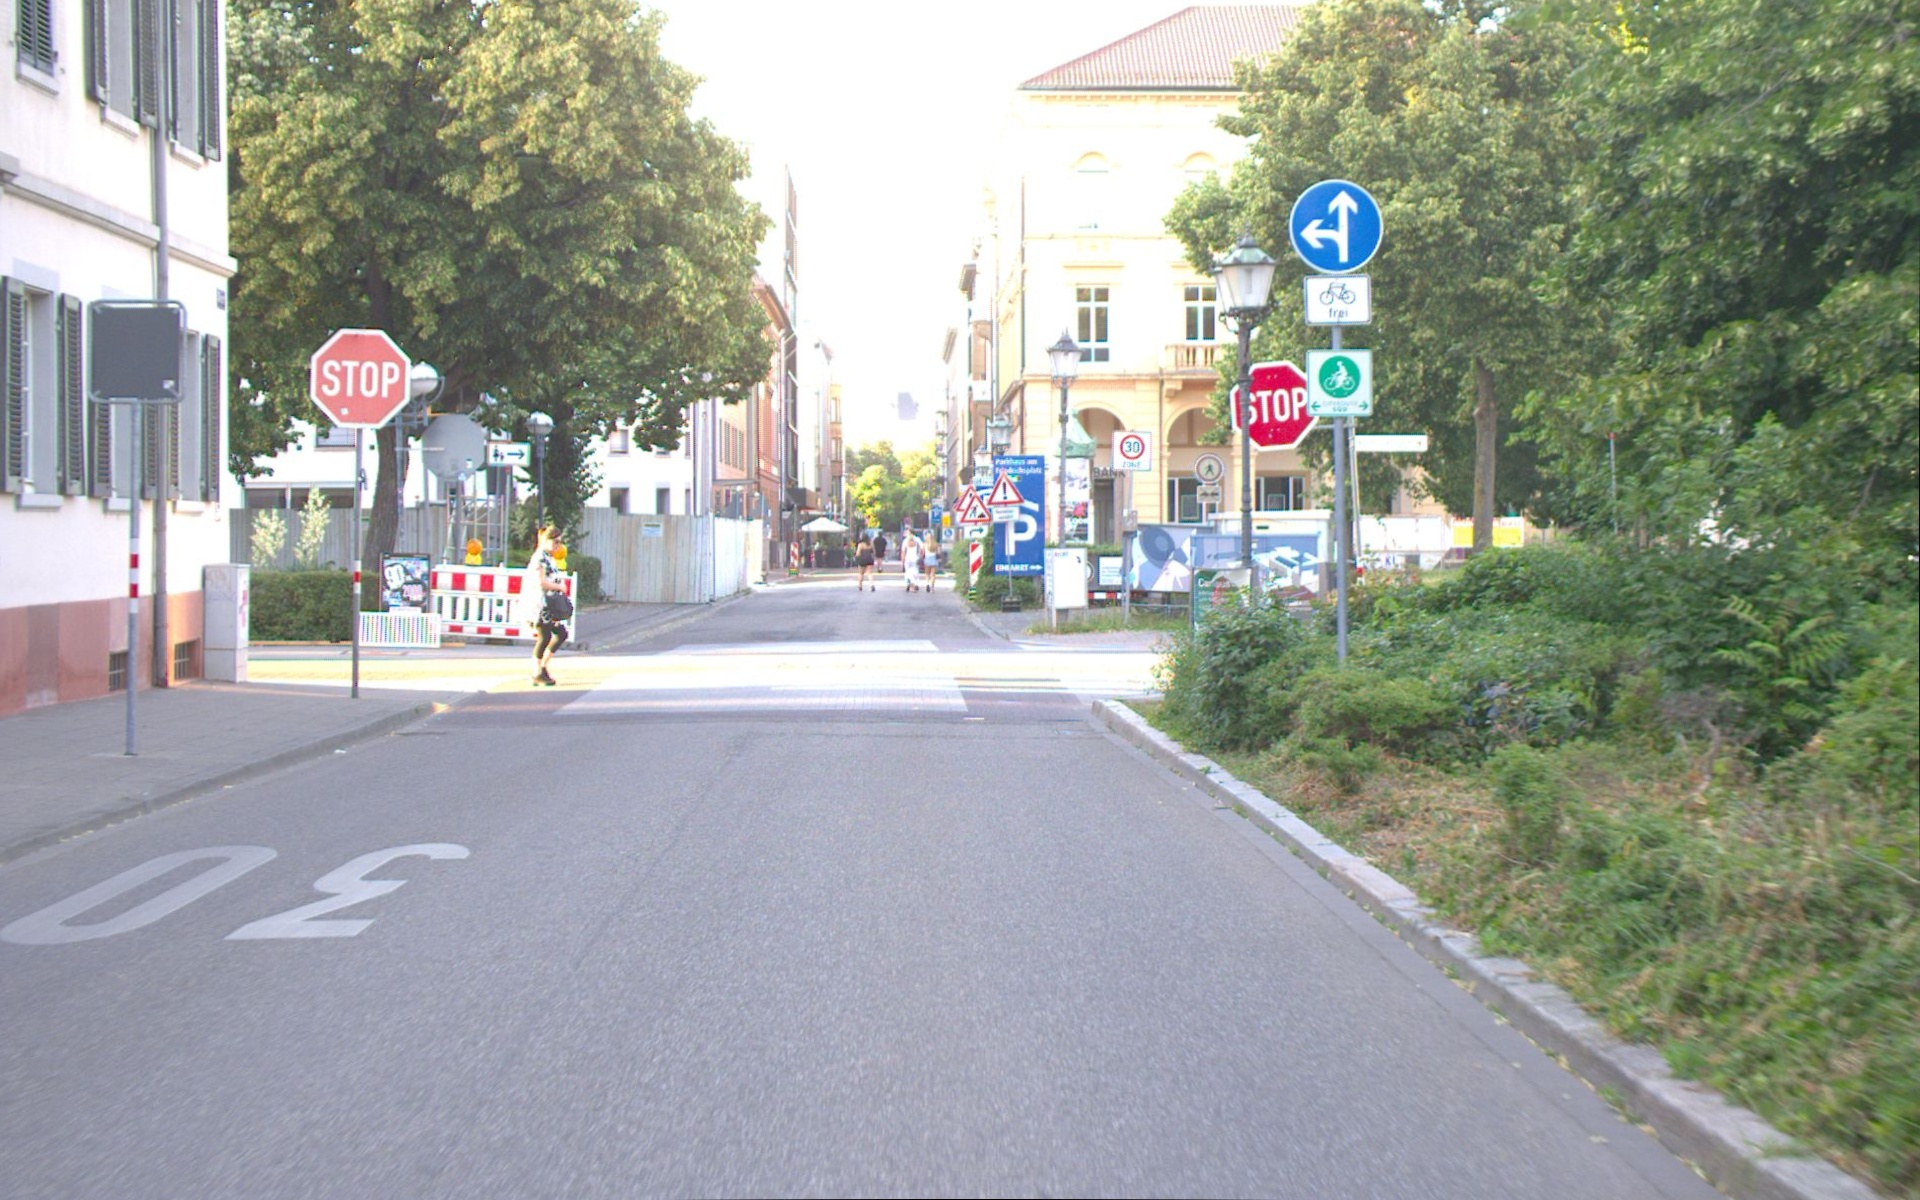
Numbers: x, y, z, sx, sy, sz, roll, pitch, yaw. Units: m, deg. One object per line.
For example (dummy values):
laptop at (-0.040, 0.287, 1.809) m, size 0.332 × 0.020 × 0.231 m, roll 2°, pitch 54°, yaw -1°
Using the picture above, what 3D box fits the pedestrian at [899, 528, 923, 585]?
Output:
pedestrian at (-1.386, -1.252, 97.734) m, size 0.657 × 1.611 × 0.745 m, roll -1°, pitch 1°, yaw 0°

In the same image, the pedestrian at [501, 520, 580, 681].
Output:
pedestrian at (-4.432, -0.002, 36.365) m, size 0.734 × 1.683 × 0.836 m, roll 0°, pitch 1°, yaw -1°

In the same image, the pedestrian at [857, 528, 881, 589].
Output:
pedestrian at (-2.619, -1.197, 99.129) m, size 0.657 × 1.754 × 0.745 m, roll -1°, pitch 1°, yaw 0°

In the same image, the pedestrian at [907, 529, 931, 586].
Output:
pedestrian at (-1.181, -1.214, 98.906) m, size 0.657 × 1.630 × 0.745 m, roll -1°, pitch 1°, yaw 0°

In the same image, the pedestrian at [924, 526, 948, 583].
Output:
pedestrian at (-0.674, -1.299, 97.719) m, size 0.657 × 1.611 × 0.745 m, roll -1°, pitch 1°, yaw 0°
